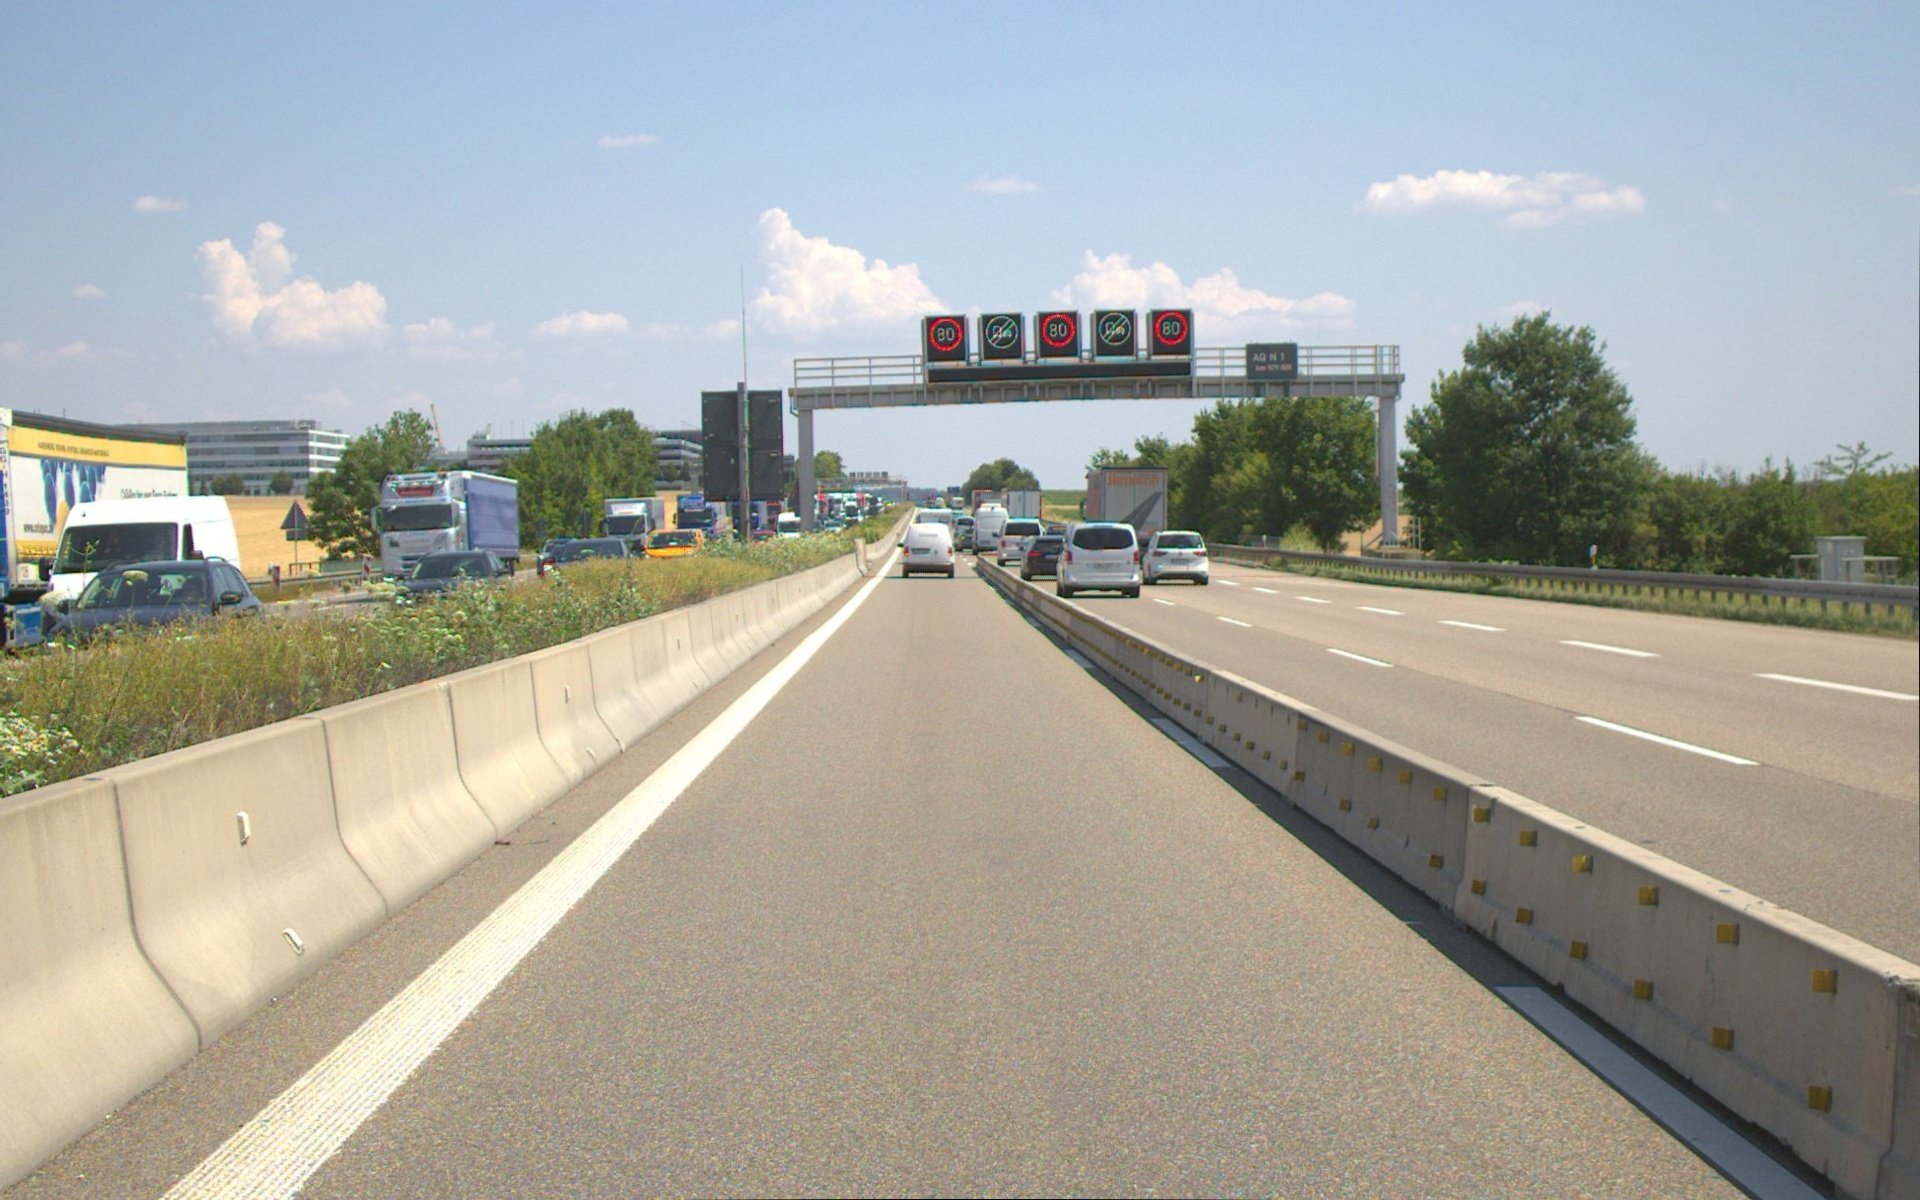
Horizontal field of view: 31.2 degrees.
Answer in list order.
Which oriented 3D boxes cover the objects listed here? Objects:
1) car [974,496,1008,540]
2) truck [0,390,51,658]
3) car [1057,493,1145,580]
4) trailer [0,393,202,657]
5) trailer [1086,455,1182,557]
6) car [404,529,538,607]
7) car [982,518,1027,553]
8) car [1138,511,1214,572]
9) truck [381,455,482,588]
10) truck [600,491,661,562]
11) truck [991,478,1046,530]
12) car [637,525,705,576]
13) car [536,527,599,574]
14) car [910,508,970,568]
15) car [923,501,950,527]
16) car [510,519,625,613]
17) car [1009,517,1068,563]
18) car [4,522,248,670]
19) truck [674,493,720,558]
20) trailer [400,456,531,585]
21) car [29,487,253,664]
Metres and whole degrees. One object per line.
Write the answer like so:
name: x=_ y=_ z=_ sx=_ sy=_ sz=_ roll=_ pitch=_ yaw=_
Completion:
car: x=1.713 y=-4.506 z=188.988 sx=1.773 sy=2.384 sz=4.000 roll=0 pitch=1 yaw=-1
truck: x=-16.137 y=-1.152 z=53.201 sx=2.809 sy=4.114 sz=4.842 roll=-1 pitch=1 yaw=-1
car: x=3.510 y=-1.577 z=86.026 sx=1.993 sy=2.112 sz=4.000 roll=0 pitch=1 yaw=-1
trailer: x=-16.281 y=-1.302 z=60.668 sx=2.809 sy=4.114 sz=14.131 roll=-1 pitch=1 yaw=-1
trailer: x=6.978 y=-3.742 z=139.130 sx=3.277 sy=3.953 sz=9.113 roll=0 pitch=1 yaw=-1
car: x=-8.729 y=-0.566 z=61.738 sx=1.779 sy=1.330 sz=4.930 roll=0 pitch=0 yaw=-1
car: x=1.875 y=-2.706 z=145.791 sx=1.773 sy=1.442 sz=4.000 roll=0 pitch=1 yaw=-1
car: x=6.502 y=-1.754 z=104.019 sx=1.993 sy=1.788 sz=4.000 roll=0 pitch=1 yaw=-1
truck: x=-16.733 y=-2.491 z=109.121 sx=2.411 sy=4.072 sz=4.660 roll=-1 pitch=1 yaw=0
truck: x=-17.383 y=-3.878 z=181.496 sx=2.698 sy=3.575 sz=4.000 roll=-2 pitch=1 yaw=1
truck: x=4.443 y=-7.358 z=264.440 sx=3.815 sy=3.891 sz=9.581 roll=-1 pitch=1 yaw=-1
car: x=-9.377 y=-1.587 z=111.816 sx=1.894 sy=1.573 sz=4.937 roll=0 pitch=0 yaw=-1
car: x=-13.034 y=-1.658 z=114.436 sx=1.588 sy=1.503 sz=4.229 roll=-1 pitch=1 yaw=0
car: x=-0.685 y=-2.091 z=116.477 sx=1.993 sy=2.007 sz=4.000 roll=0 pitch=1 yaw=-1
car: x=-1.720 y=-6.306 z=251.730 sx=1.993 sy=1.829 sz=4.000 roll=0 pitch=1 yaw=-1
car: x=-8.750 y=-0.788 z=76.971 sx=1.993 sy=2.007 sz=4.685 roll=-1 pitch=1 yaw=0
car: x=2.543 y=-1.937 z=111.673 sx=1.773 sy=1.442 sz=4.000 roll=0 pitch=1 yaw=-1
car: x=-9.004 y=-0.091 z=37.460 sx=1.597 sy=1.464 sz=4.534 roll=-1 pitch=1 yaw=-1
truck: x=-18.019 y=-5.089 z=235.506 sx=2.592 sy=4.224 sz=4.855 roll=-3 pitch=1 yaw=-1
trailer: x=-16.765 y=-2.717 z=117.442 sx=2.386 sy=4.072 sz=14.098 roll=-1 pitch=1 yaw=0
car: x=-12.363 y=-0.421 z=52.275 sx=2.046 sy=2.492 sz=5.813 roll=-1 pitch=1 yaw=-1
